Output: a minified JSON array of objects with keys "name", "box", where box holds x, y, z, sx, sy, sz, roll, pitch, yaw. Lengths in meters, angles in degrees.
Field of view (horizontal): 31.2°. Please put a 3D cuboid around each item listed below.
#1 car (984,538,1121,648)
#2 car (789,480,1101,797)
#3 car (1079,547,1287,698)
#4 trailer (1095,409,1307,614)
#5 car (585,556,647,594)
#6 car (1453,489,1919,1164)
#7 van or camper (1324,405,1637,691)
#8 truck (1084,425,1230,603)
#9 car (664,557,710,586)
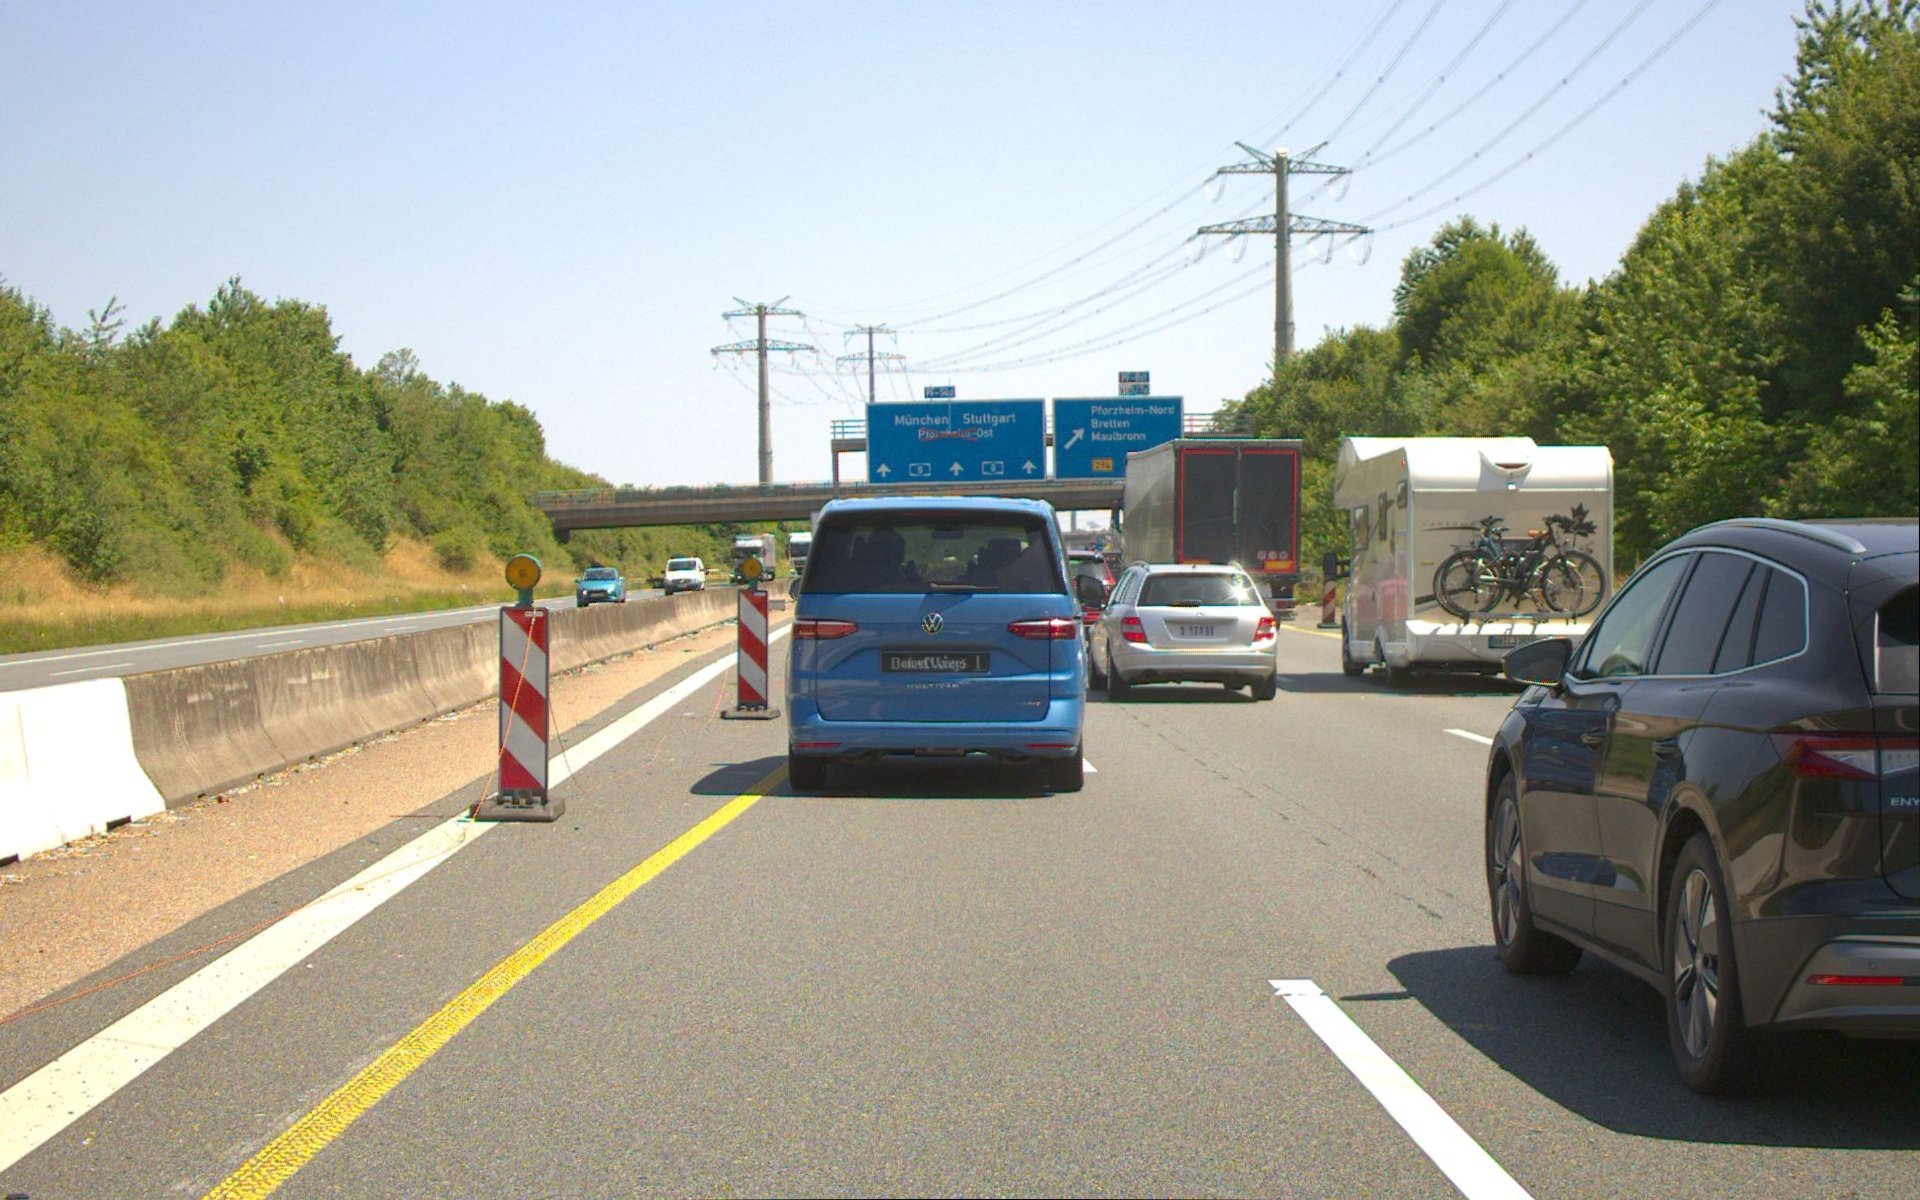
[{"name":"car","box":[1.440,-0.137,55.085,1.874,1.665,4.360,1,1,-2]},{"name":"car","box":[-0.177,0.212,23.137,1.874,1.905,4.360,1,1,-2]},{"name":"car","box":[2.344,0.205,37.177,1.770,1.512,4.360,1,1,-2]},{"name":"trailer","box":[5.050,-1.845,74.910,2.783,4.033,13.114,1,1,-4]},{"name":"car","box":[-13.539,-0.982,135.551,1.993,1.393,4.000,-2,1,0]},{"name":"car","box":[2.797,0.539,10.659,1.700,1.649,4.430,1,1,-2]},{"name":"van or camper","box":[5.998,-0.603,40.726,2.369,3.033,7.633,1,1,-1]},{"name":"truck","box":[4.634,-2.009,81.900,2.732,4.033,5.794,1,1,-3]},{"name":"car","box":[-14.090,-1.482,177.491,1.993,1.393,4.000,-2,1,0]}]
